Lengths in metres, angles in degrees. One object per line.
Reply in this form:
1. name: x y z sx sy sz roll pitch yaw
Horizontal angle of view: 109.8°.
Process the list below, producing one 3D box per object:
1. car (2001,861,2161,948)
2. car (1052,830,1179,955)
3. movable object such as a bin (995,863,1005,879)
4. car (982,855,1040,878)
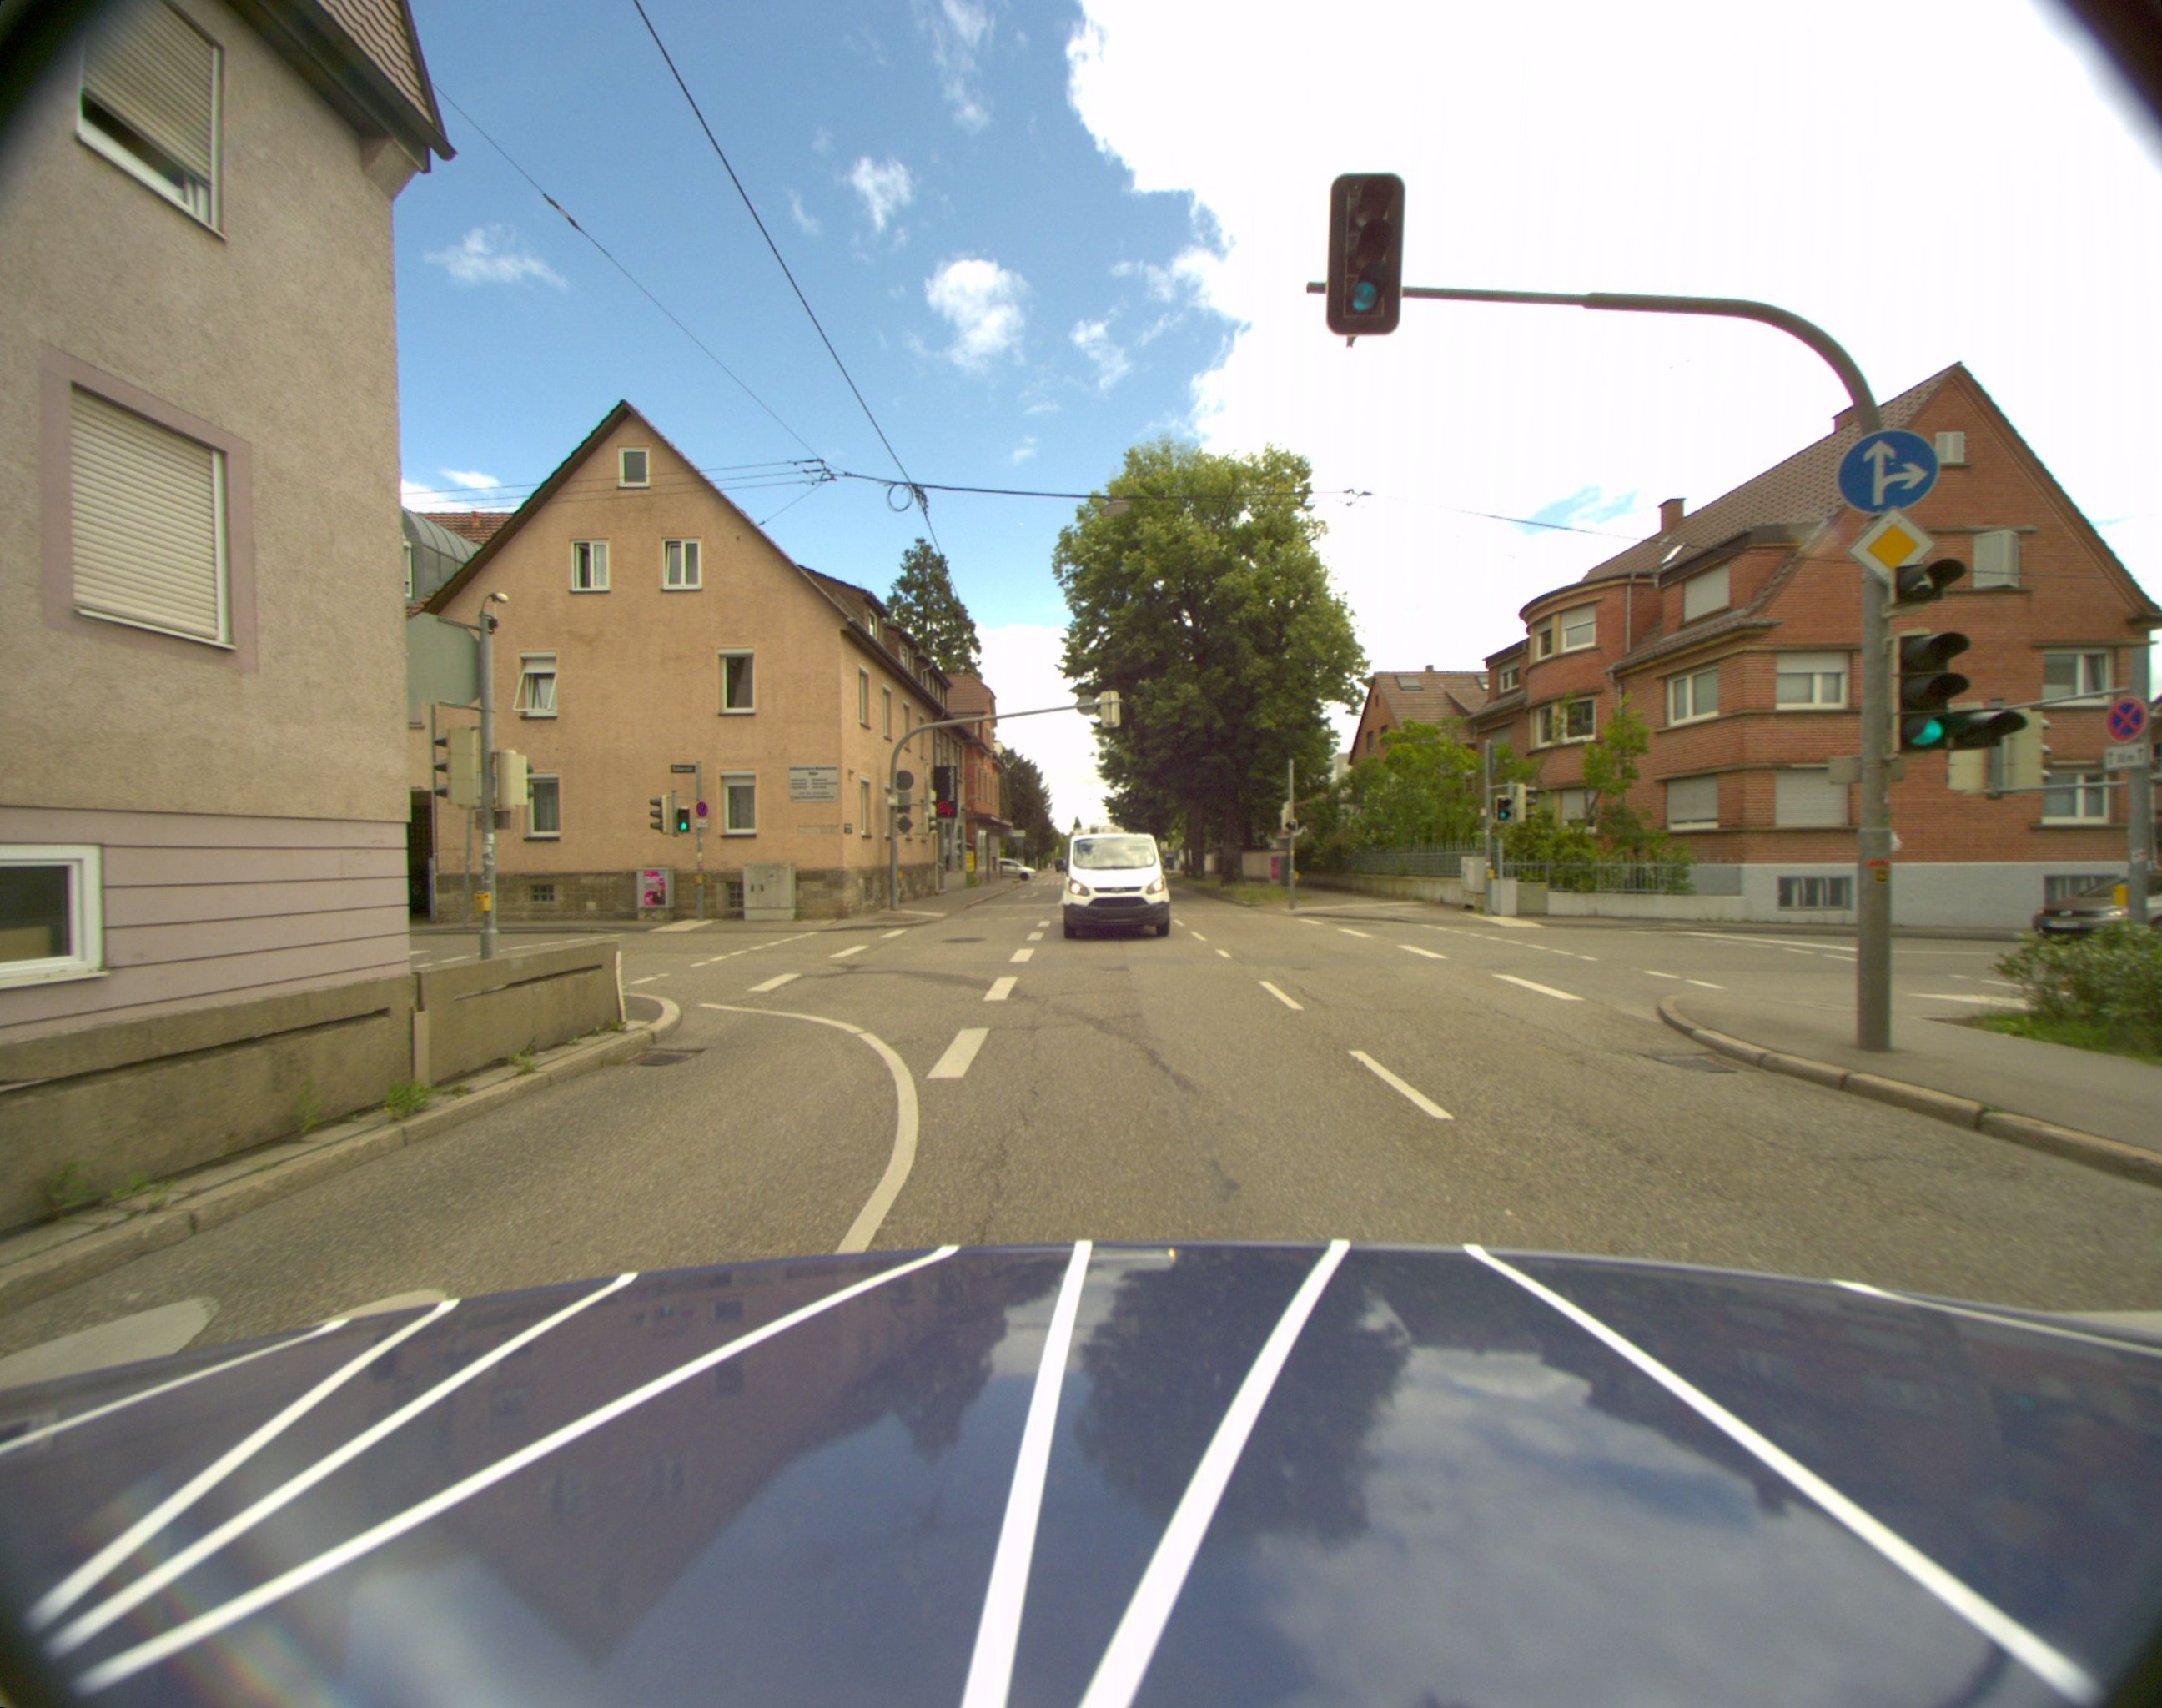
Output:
1. car: 21.196 1.013 14.900 3.997 1.575 1.898 2 -2 1
2. car: 0.546 0.597 15.229 1.999 1.961 5.714 -2 1 0
3. movable object such as a bin: -5.541 1.172 52.189 0.608 1.094 0.622 1 1 1
4. car: -5.083 0.897 55.570 4.039 1.462 1.600 3 1 -1
